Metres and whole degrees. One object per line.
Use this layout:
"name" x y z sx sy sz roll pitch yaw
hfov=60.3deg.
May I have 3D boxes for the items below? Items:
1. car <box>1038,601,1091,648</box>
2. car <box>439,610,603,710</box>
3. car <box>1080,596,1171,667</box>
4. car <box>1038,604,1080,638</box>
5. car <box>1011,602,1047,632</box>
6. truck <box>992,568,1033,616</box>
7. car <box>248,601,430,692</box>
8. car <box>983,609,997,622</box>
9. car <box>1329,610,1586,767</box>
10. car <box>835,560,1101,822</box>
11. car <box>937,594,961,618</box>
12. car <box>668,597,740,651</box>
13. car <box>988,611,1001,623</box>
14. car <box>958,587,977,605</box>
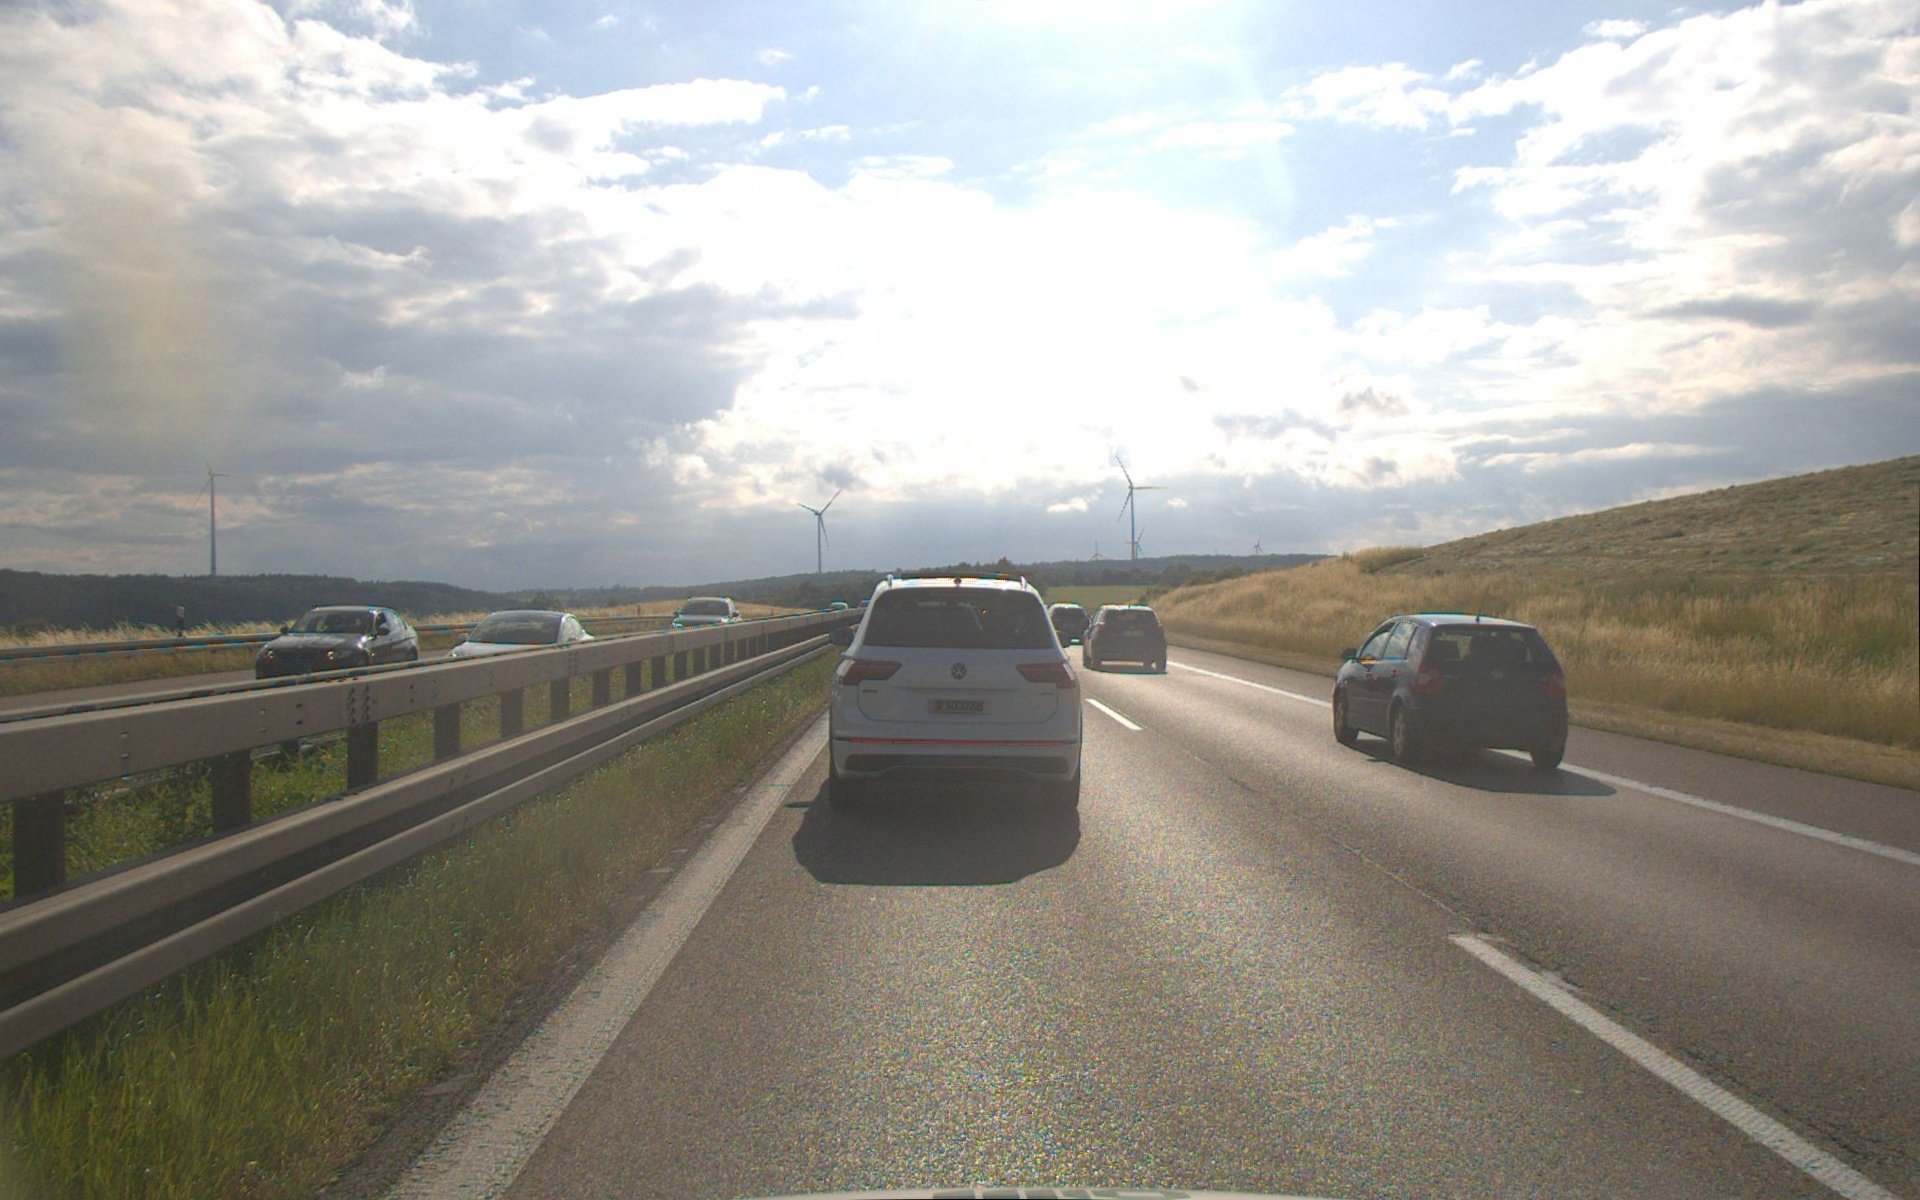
"car" 3.940 0.912 62.786 1.669 1.679 3.999 1 0 -1
"car" -7.400 0.962 28.312 1.714 1.547 4.478 1 0 -2
"car" 3.869 0.729 39.198 1.669 1.573 3.999 1 0 -1
"car" 4.688 0.991 78.665 1.669 1.573 3.999 1 0 -1
"car" 3.697 0.902 89.090 1.669 1.573 3.999 1 0 -1
"truck" 4.200 -0.635 134.078 3.118 3.656 11.132 1 0 1
"car" -11.094 0.797 29.895 1.714 1.505 4.478 1 0 -2
"car" 3.628 1.882 198.273 1.669 1.573 4.000 1 0 1
"car" 5.058 0.837 17.286 1.573 1.445 3.672 1 0 0
"car" 0.025 0.612 12.887 1.734 1.705 3.999 1 0 -1
"car" -0.826 0.425 119.983 1.669 1.679 3.999 1 0 -1
"car" -8.026 0.738 52.203 1.714 1.631 4.264 1 0 -2
"car" 4.704 2.349 225.003 1.669 1.573 4.000 1 0 1
"car" 0.648 -0.334 149.998 1.669 1.573 3.999 1 0 -1
